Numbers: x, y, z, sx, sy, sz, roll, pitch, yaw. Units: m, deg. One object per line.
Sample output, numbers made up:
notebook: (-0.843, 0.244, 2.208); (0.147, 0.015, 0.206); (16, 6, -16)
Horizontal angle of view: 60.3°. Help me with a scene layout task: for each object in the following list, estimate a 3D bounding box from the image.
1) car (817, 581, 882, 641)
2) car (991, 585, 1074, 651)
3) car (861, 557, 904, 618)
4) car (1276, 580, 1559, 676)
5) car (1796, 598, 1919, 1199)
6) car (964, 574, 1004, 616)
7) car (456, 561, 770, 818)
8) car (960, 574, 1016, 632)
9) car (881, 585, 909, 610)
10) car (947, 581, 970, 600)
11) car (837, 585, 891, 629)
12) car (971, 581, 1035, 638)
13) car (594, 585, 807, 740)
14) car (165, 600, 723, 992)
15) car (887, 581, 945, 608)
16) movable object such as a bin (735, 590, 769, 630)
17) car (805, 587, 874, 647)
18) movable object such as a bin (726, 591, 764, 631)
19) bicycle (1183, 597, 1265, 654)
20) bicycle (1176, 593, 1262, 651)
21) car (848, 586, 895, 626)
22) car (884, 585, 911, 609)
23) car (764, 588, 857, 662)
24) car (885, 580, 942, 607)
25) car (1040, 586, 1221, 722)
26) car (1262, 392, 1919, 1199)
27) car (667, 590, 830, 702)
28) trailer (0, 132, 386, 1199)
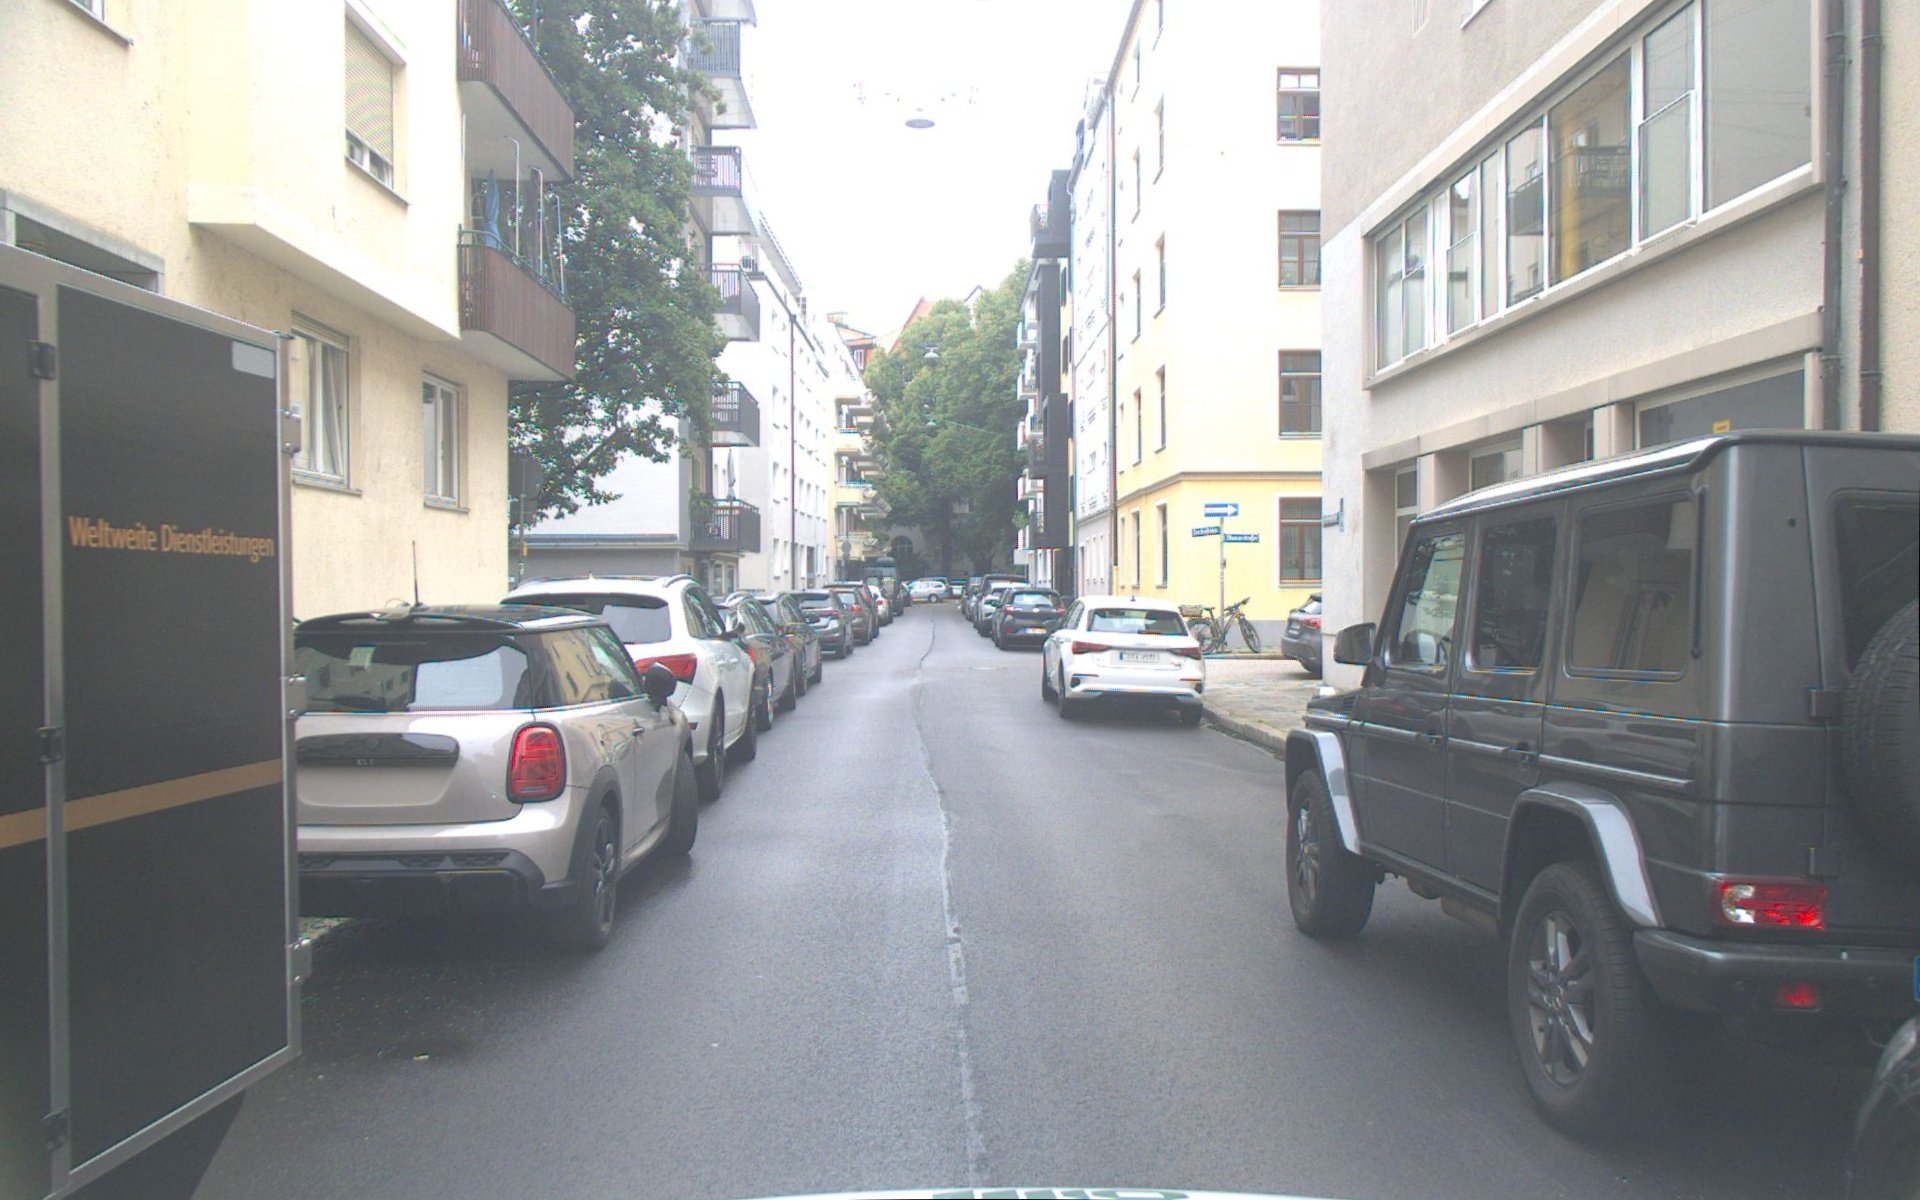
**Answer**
car: (-3.267, 0.290, 49.602); (1.741, 1.657, 4.413); (-1, 1, -1)
car: (1.750, 0.406, 41.091); (1.715, 1.495, 4.342); (2, 1, -1)
car: (-3.833, -0.606, 82.419); (1.897, 2.850, 4.531); (-3, 1, -1)
car: (7.546, 0.434, 27.531); (4.121, 1.424, 1.999); (-1, 2, -4)
car: (2.558, 0.759, 1.105); (1.677, 1.512, 4.241); (1, 0, -3)
car: (1.213, -0.248, 85.464); (1.792, 2.034, 4.414); (3, 0, -1)
car: (-2.603, 0.603, 13.418); (1.730, 1.704, 4.365); (-1, 0, -2)
car: (0.954, 0.081, 58.607); (1.792, 1.943, 4.415); (1, 1, -1)
car: (-3.954, -0.187, 101.089); (1.609, 1.407, 3.481); (-3, 1, -2)
car: (-0.153, -0.729, 128.074); (1.609, 1.407, 3.745); (-3, 1, -1)
car: (-3.573, 0.232, 62.465); (1.741, 1.512, 4.519); (-3, 1, 0)
car: (1.287, 0.260, 51.086); (1.648, 1.595, 4.414); (2, 1, -2)
car: (-2.844, 0.618, 19.056); (1.729, 1.509, 4.424); (-1, 1, 0)
car: (-2.250, 0.748, 8.246); (1.618, 1.461, 3.802); (-1, 0, -1)
car: (-2.972, -0.365, 111.041); (3.808, 1.612, 1.647); (-3, 0, -3)
movable object such as a bin: (-7.512, 0.353, 59.881); (1.026, 1.360, 0.993); (-3, 0, 2)
car: (-3.141, 0.416, 43.778); (1.659, 1.467, 3.975); (-2, 1, -2)
movable object such as a bin: (-7.643, 0.373, 58.801); (1.142, 1.360, 1.025); (-3, 0, 2)
bicycle: (5.665, 0.548, 35.571); (1.679, 1.159, 0.374); (-2, 2, -2)
bicycle: (5.657, 0.473, 36.105); (1.772, 1.194, 0.505); (-2, 2, -3)
car: (-3.584, 0.213, 67.840); (1.741, 1.478, 4.045); (-3, 1, -1)
car: (-3.958, -0.205, 104.958); (1.609, 1.407, 3.481); (-3, 1, -2)
car: (-3.183, 0.492, 35.936); (1.658, 1.467, 3.942); (-1, 1, -1)
car: (-3.186, -0.431, 113.267); (3.808, 1.612, 1.647); (-3, 0, -3)
car: (2.060, 0.609, 21.047); (1.782, 1.432, 3.952); (1, 2, -2)
car: (2.509, 0.521, 6.096); (1.716, 2.010, 4.340); (2, 1, -3)
car: (-2.994, 0.604, 24.268); (1.818, 1.433, 4.382); (-1, 1, -1)
trailer: (-1.878, 0.486, 1.709); (1.327, 2.153, 3.318); (0, 0, 1)
